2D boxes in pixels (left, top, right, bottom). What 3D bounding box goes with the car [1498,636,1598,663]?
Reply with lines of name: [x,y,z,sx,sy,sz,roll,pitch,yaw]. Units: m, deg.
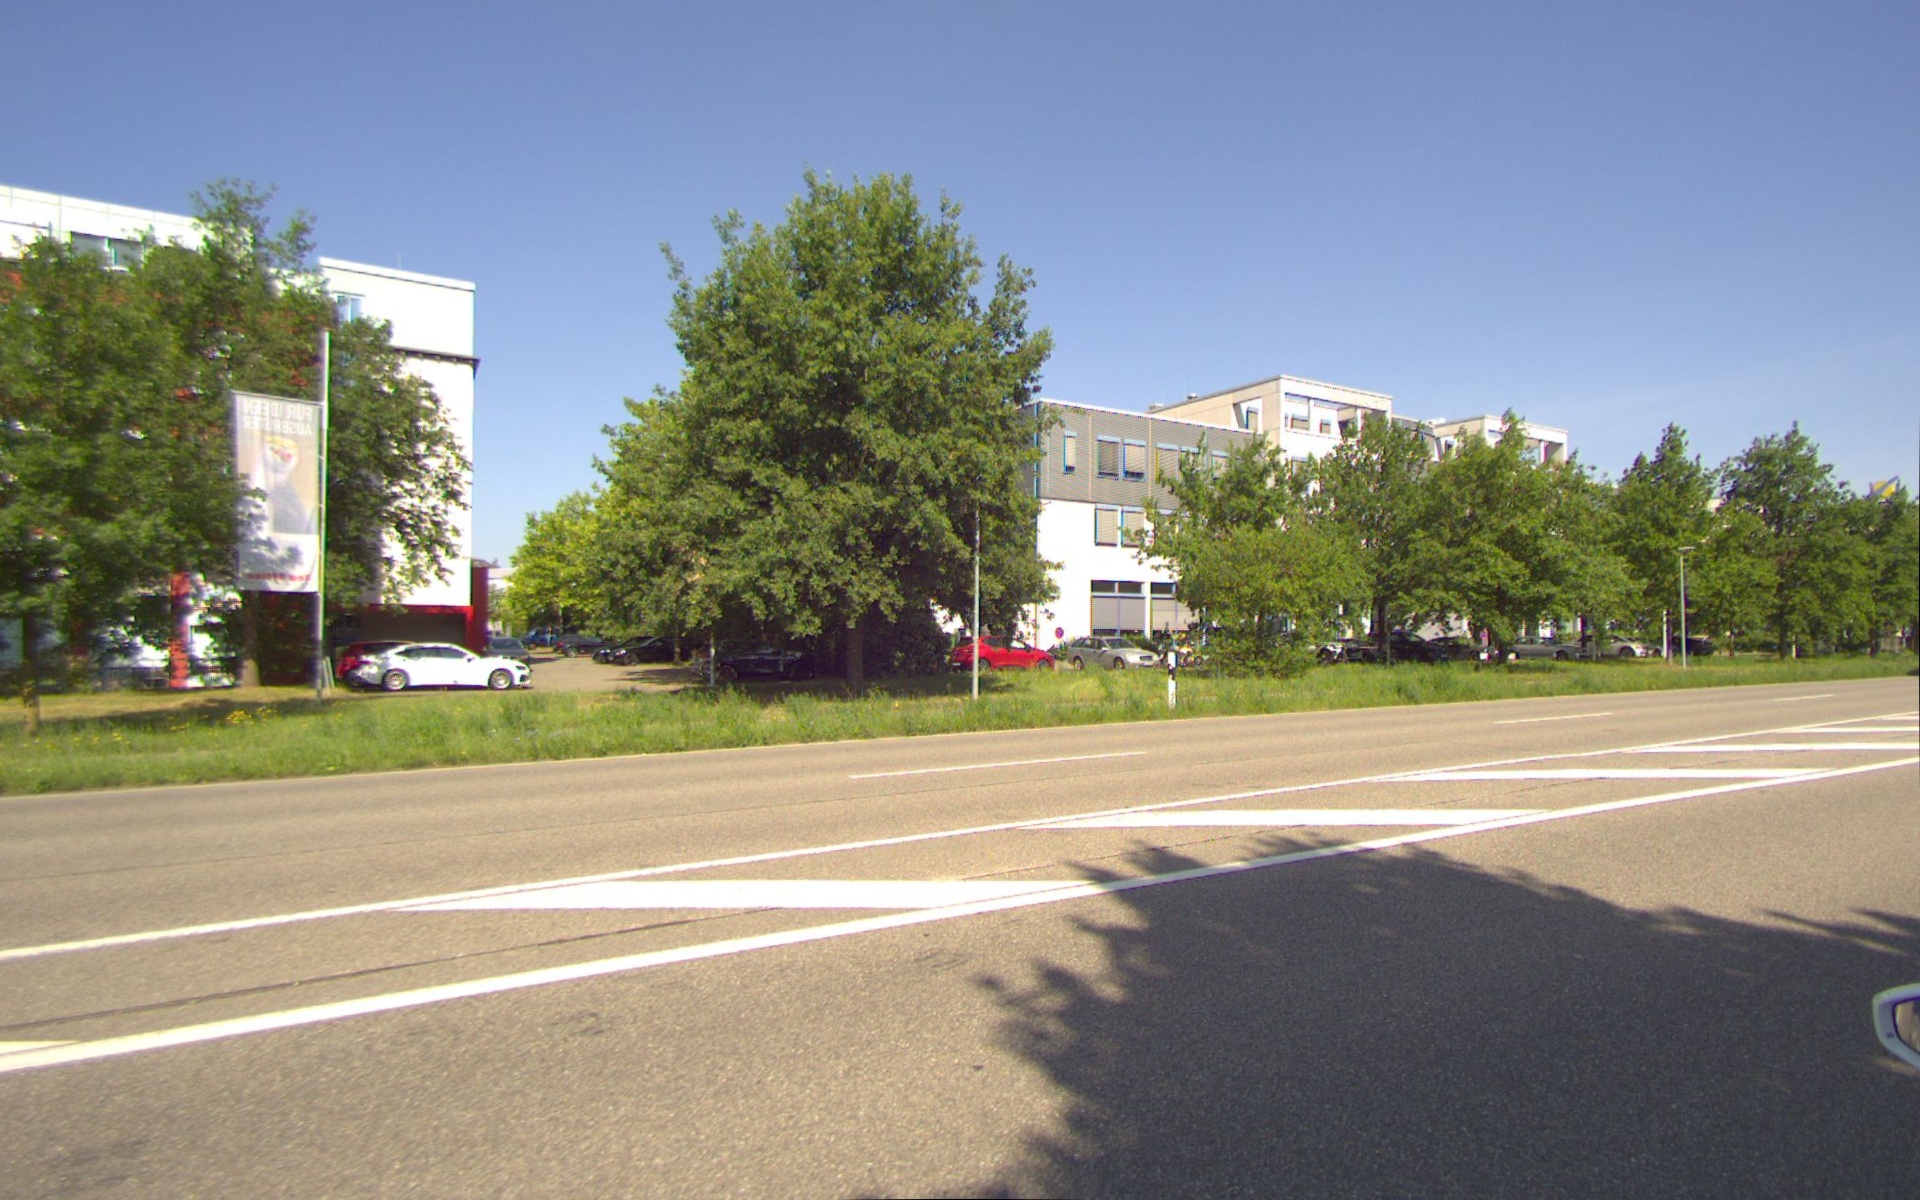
car: [33.462,2.786,57.302,1.976,1.456,4.574,1,-2,-29]

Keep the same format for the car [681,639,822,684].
car: [-7.411,2.155,35.832,4.555,1.456,1.984,1,-2,-30]

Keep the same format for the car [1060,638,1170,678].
car: [6.116,2.286,40.228,1.976,1.456,4.574,1,-2,-29]

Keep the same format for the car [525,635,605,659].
car: [-25.282,2.997,64.266,4.555,1.456,1.984,1,-2,-30]

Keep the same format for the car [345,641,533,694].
car: [-15.724,2.003,30.526,4.893,1.456,1.986,1,-2,-28]

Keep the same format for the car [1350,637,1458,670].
car: [21.726,2.582,49.318,1.976,1.456,4.574,1,-2,-29]

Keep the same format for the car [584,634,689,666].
car: [-15.751,2.404,48.933,4.555,1.456,1.984,1,-2,-30]

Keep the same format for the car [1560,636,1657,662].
car: [38.973,2.903,60.481,1.976,1.456,4.574,1,-2,-29]

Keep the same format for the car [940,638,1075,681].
car: [1.727,2.110,36.323,4.552,1.456,1.986,1,-2,-28]

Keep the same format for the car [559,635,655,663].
car: [-18.871,2.595,53.694,4.555,1.456,1.984,1,-2,-30]

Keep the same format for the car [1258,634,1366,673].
car: [16.219,2.422,46.454,1.976,1.672,4.574,1,-2,-29]

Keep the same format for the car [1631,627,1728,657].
car: [45.080,2.628,63.043,1.974,1.781,4.518,1,-2,-26]

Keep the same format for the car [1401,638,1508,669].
car: [24.971,2.658,50.899,1.976,1.456,4.574,1,-2,-29]

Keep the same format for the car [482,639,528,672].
car: [-20.114,2.412,44.370,1.486,1.371,3.969,1,-2,-30]

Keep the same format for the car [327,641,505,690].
car: [-17.483,2.066,32.501,4.893,1.456,1.986,1,-2,-28]
